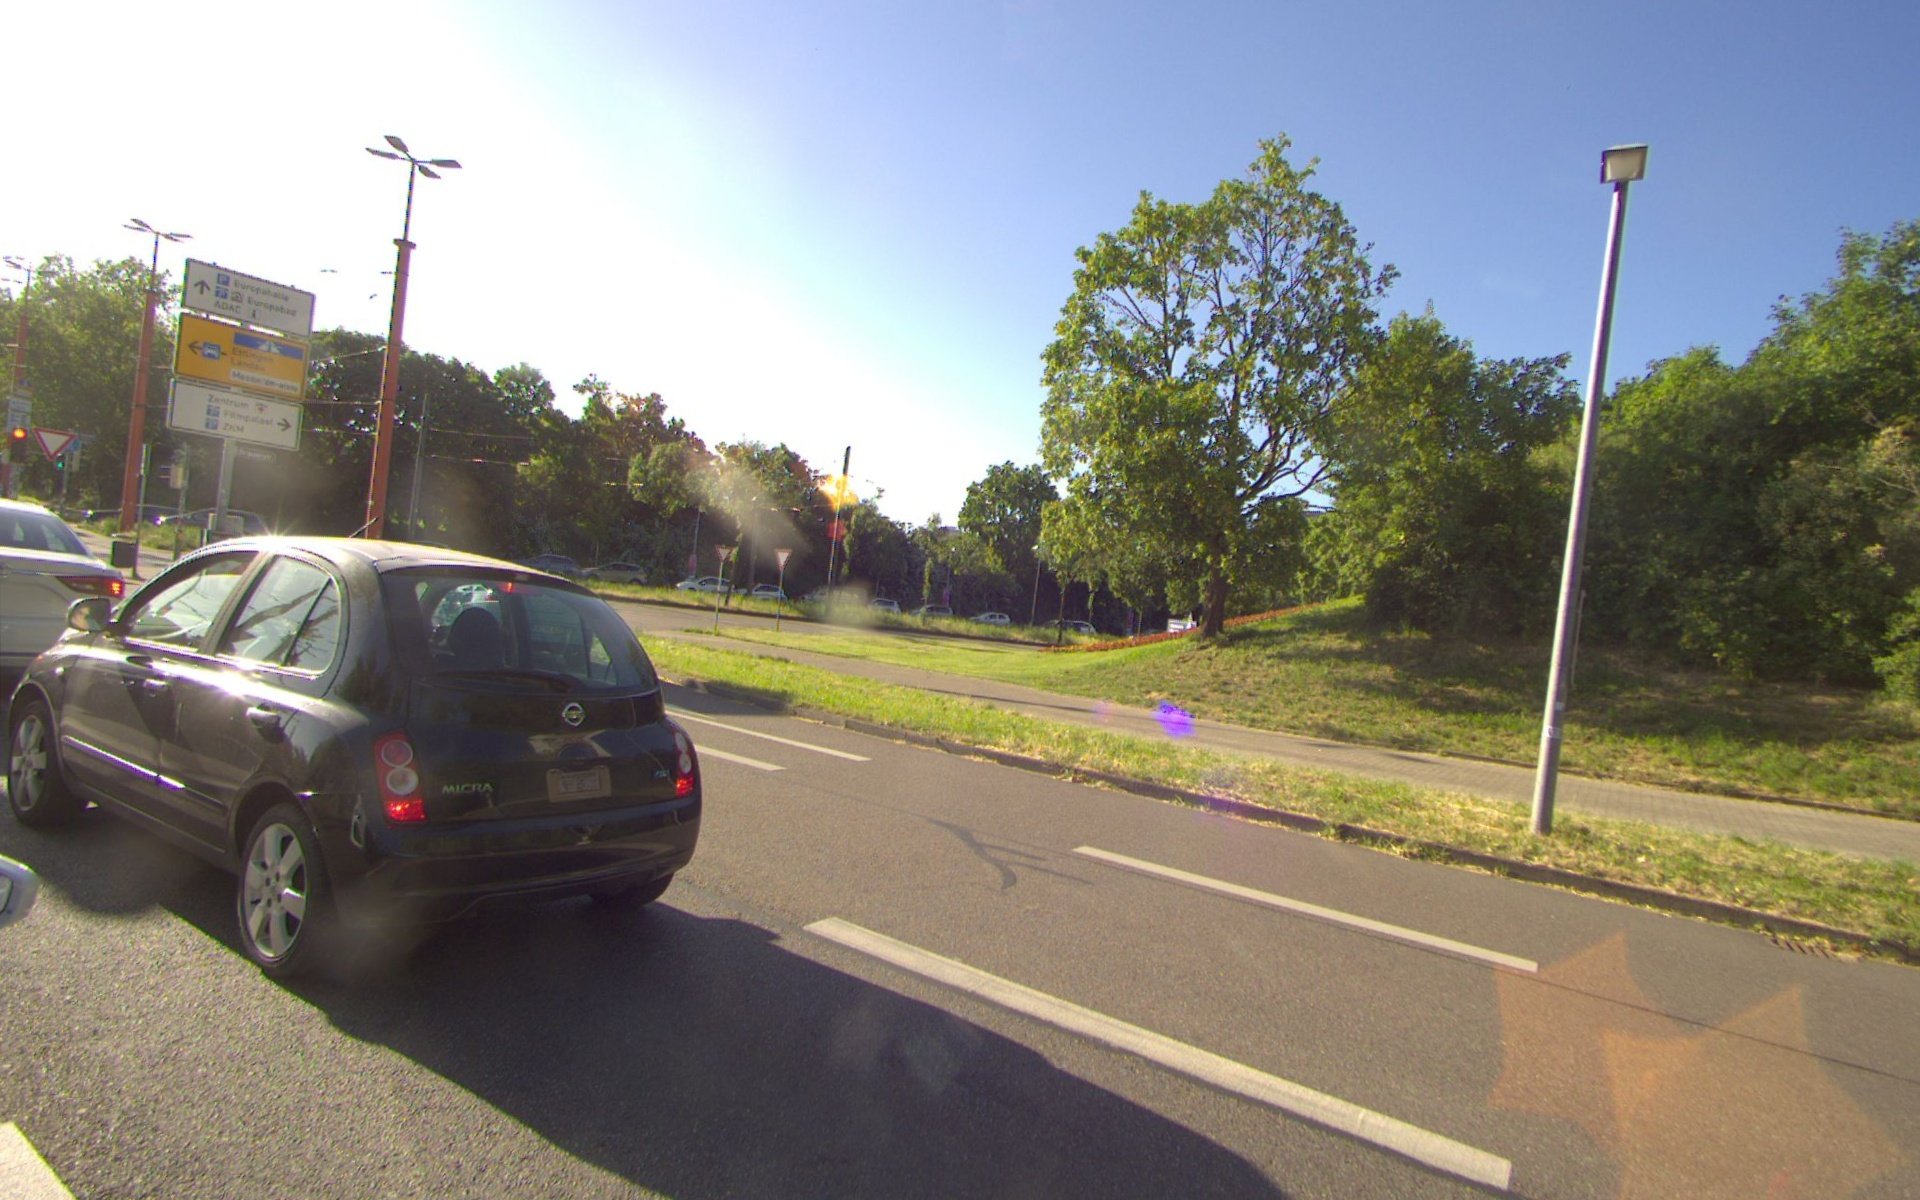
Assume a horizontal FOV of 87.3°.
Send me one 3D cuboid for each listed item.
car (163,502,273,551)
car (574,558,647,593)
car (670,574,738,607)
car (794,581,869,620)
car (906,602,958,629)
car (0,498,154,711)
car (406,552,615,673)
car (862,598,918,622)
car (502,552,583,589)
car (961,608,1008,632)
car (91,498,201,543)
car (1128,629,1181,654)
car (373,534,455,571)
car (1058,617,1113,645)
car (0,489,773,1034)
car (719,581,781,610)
[{"bbox_3d":[-37.509,-3.681,50.984,4.152,1.663,1.745,9,-2,-32],"label":"car"},{"bbox_3d":[-22.499,-1.562,64.768,4.088,1.663,1.839,8,-1,-30],"label":"car"},{"bbox_3d":[-16.313,-0.592,64.114,3.790,1.541,1.682,8,-1,-30],"label":"car"},{"bbox_3d":[-8.766,0.062,68.686,4.531,2.038,1.987,8,0,-27],"label":"car"},{"bbox_3d":[-2.012,1.143,72.568,3.369,1.475,1.453,8,-1,-31],"label":"car"},{"bbox_3d":[-8.350,-0.168,8.015,4.130,1.454,1.723,7,-1,33],"label":"car"},{"bbox_3d":[-7.364,0.148,16.264,1.729,1.468,4.080,7,0,-43],"label":"car"},{"bbox_3d":[-5.166,0.750,74.522,3.804,1.278,1.590,9,-3,-32],"label":"car"},{"bbox_3d":[-24.496,-1.734,59.074,4.089,1.617,1.814,8,-1,-31],"label":"car"},{"bbox_3d":[1.945,1.588,78.470,3.413,1.384,1.280,9,-2,-31],"label":"car"},{"bbox_3d":[-42.007,-4.081,52.062,4.095,1.528,1.808,9,-2,-32],"label":"car"},{"bbox_3d":[15.945,3.414,82.345,3.959,1.466,1.801,9,-2,-30],"label":"car"},{"bbox_3d":[-31.528,-2.703,58.118,3.937,1.457,1.674,9,-2,-31],"label":"car"},{"bbox_3d":[10.391,2.567,83.382,4.195,1.701,1.690,8,-1,-29],"label":"car"},{"bbox_3d":[-2.841,0.466,4.703,3.555,1.518,1.657,7,-2,32],"label":"car"},{"bbox_3d":[-14.318,-0.295,68.771,3.710,1.491,1.587,8,-1,-32],"label":"car"}]
